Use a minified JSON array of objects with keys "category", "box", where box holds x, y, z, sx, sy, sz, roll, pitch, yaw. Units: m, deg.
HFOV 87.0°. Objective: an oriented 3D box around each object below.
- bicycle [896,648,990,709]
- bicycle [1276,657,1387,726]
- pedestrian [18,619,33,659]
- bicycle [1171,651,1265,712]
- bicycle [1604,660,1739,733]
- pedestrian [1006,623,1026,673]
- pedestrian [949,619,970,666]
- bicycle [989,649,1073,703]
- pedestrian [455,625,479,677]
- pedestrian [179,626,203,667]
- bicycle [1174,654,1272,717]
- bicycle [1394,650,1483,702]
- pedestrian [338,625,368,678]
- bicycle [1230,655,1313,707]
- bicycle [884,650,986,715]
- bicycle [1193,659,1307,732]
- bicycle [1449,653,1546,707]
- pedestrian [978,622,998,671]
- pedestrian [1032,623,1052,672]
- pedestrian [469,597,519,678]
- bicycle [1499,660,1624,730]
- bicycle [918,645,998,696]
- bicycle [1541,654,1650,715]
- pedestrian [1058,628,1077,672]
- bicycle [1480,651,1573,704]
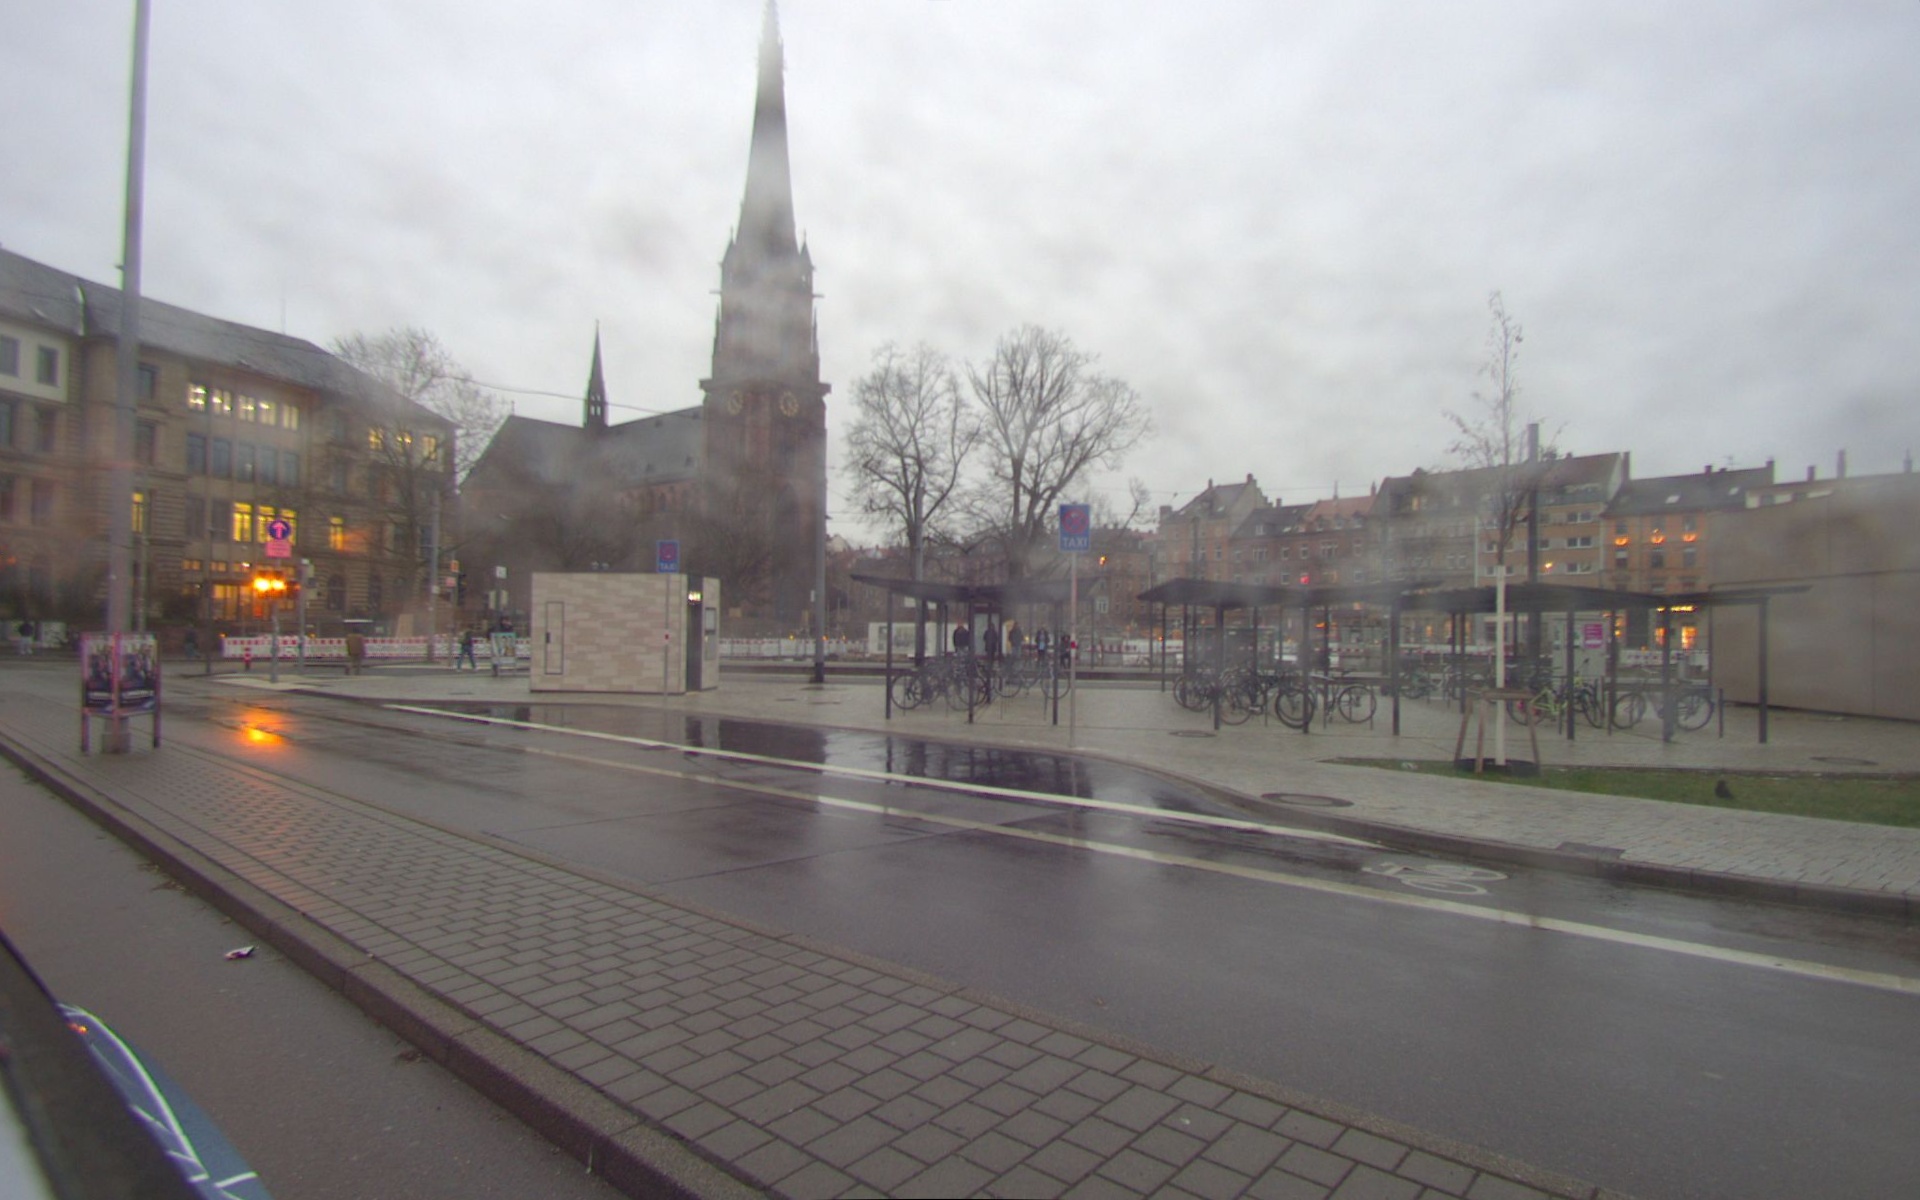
[{"category":"bicycle","box":[-0.350,1.617,21.123,1.879,1.174,0.548,1,0,12]},{"category":"bicycle","box":[6.924,1.689,18.929,1.879,1.174,0.548,1,0,12]},{"category":"pedestrian","box":[-48.220,2.019,52.224,0.563,2.029,0.587,0,0,-45]},{"category":"bicycle","box":[5.429,1.714,21.408,1.879,1.174,0.548,1,0,12]},{"category":"bicycle","box":[12.707,1.711,18.117,1.879,1.174,0.548,1,0,12]},{"category":"pedestrian","box":[2.125,1.799,38.242,0.709,1.820,0.713,1,-1,7]},{"category":"pedestrian","box":[-0.023,1.610,38.613,0.709,1.770,0.713,1,-1,7]},{"category":"bicycle","box":[1.644,1.753,23.497,1.879,1.174,0.548,1,0,12]},{"category":"pedestrian","box":[-18.121,1.858,37.206,0.595,1.827,0.827,-3,1,-35]},{"category":"pedestrian","box":[-39.388,2.365,51.869,0.734,2.029,0.644,1,0,7]},{"category":"bicycle","box":[5.336,1.724,20.632,1.879,1.174,0.548,1,0,12]},{"category":"bicycle","box":[11.771,1.858,24.916,1.879,1.174,0.548,1,0,12]},{"category":"pedestrian","box":[-19.883,1.687,33.157,0.663,1.687,0.732,1,0,-17]},{"category":"bicycle","box":[7.696,2.000,25.059,1.879,1.174,0.548,1,0,12]},{"category":"bicycle","box":[-0.487,1.607,19.924,1.922,1.174,0.548,1,0,12]},{"category":"bicycle","box":[5.129,1.683,17.986,1.879,1.174,0.548,1,0,12]},{"category":"bicycle","box":[12.468,1.848,23.519,1.879,1.174,0.548,1,0,12]},{"category":"pedestrian","box":[1.071,1.753,38.520,0.709,1.820,0.713,1,-1,7]},{"category":"pedestrian","box":[3.118,1.775,38.319,0.709,1.820,0.713,1,-1,7]},{"category":"pedestrian","box":[-14.170,1.106,30.773,1.062,2.388,0.984,1,0,37]},{"category":"bicycle","box":[11.136,1.746,18.783,1.879,1.174,0.548,1,0,12]},{"category":"bicycle","box":[-0.040,1.721,24.862,1.879,1.174,0.548,1,0,12]},{"category":"bicycle","box":[13.480,1.781,21.507,1.879,1.174,0.548,1,0,12]},{"category":"pedestrian","box":[4.061,1.887,38.265,0.709,1.630,0.713,1,-1,7]},{"category":"bicycle","box":[13.683,1.864,24.481,1.879,1.174,0.548,1,0,12]}]
